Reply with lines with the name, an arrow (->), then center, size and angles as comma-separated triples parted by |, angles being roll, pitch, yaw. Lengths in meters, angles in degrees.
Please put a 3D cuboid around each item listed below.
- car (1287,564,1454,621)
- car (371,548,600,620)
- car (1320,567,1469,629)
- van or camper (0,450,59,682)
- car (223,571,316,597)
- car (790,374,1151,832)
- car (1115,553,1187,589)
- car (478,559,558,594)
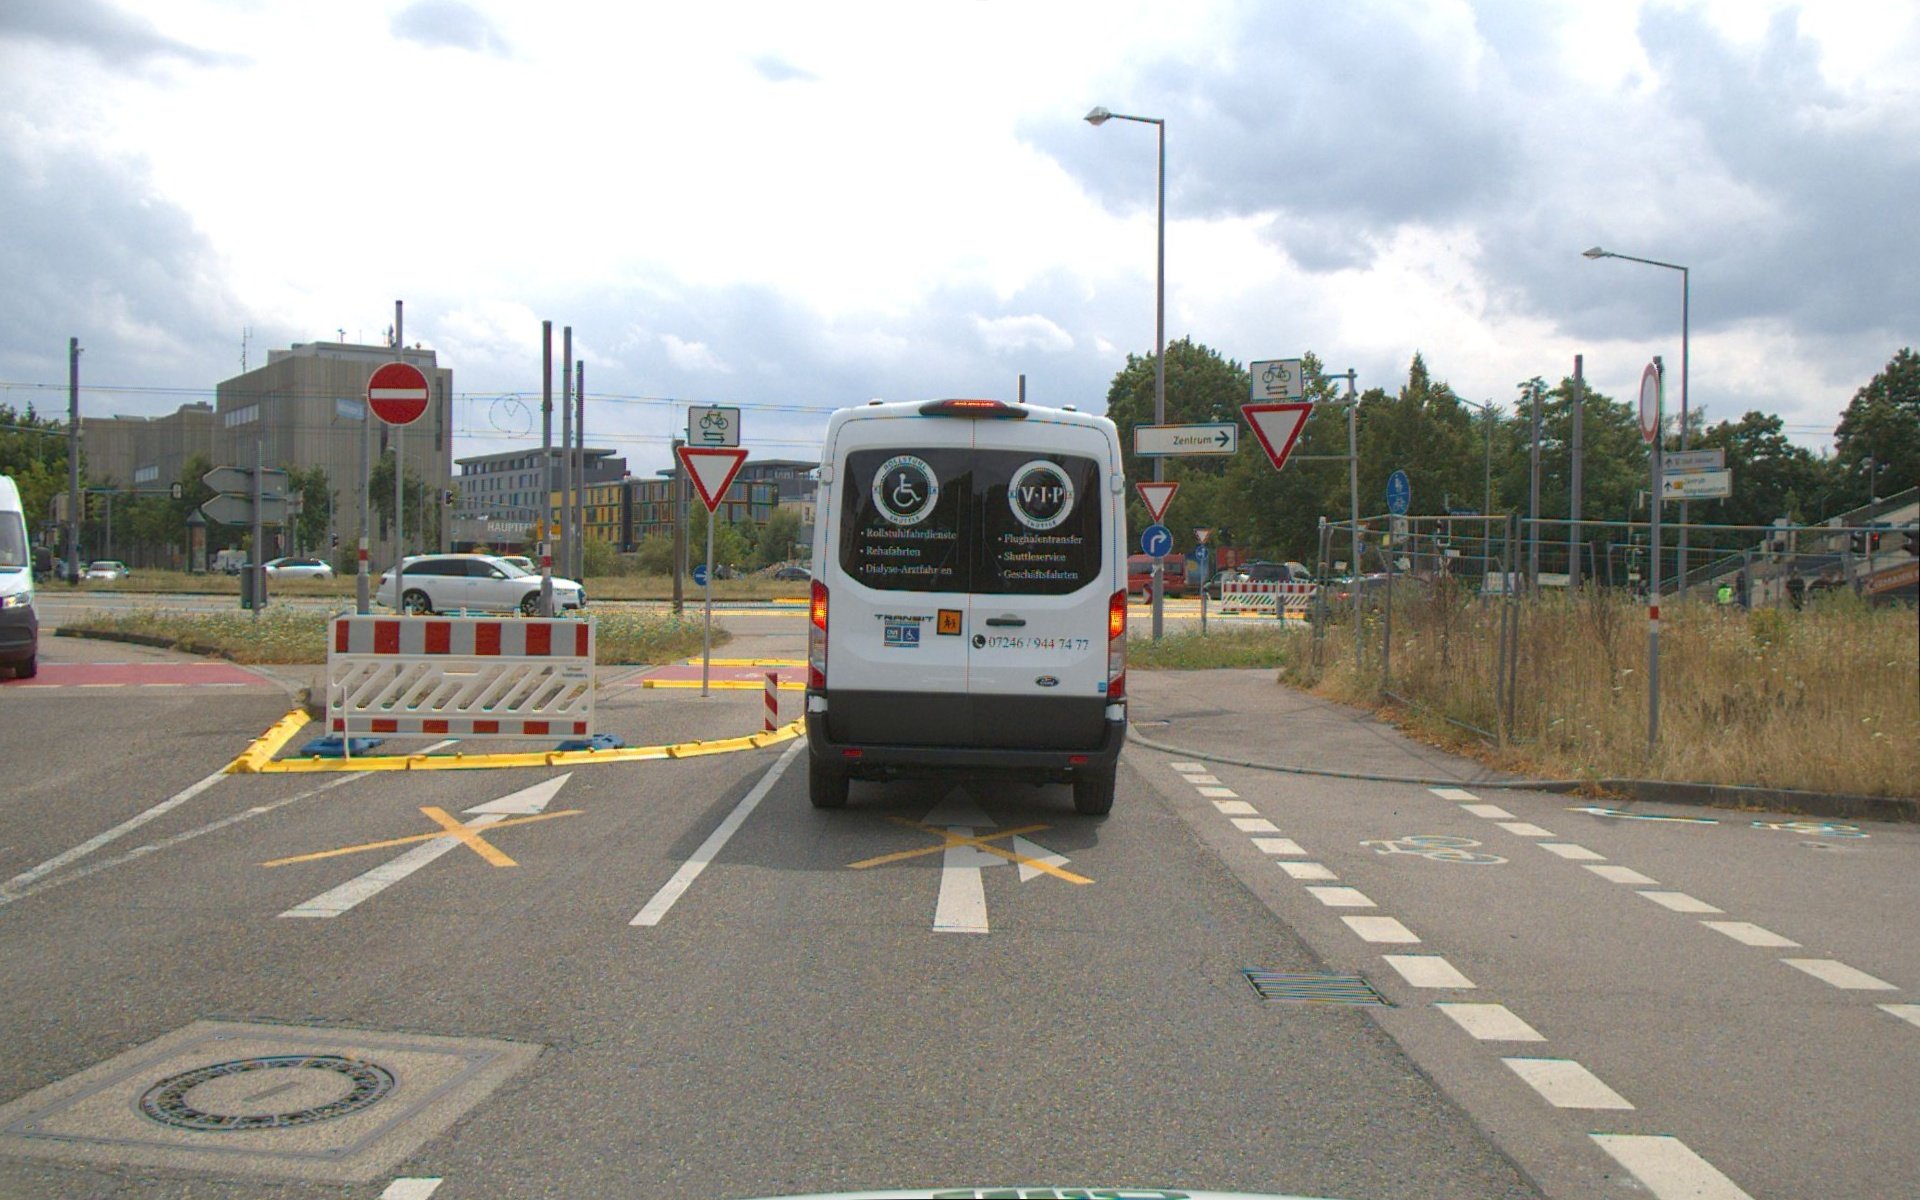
car -> 10.852, -0.230, 43.676 | 4.288, 1.377, 1.609 | -2, 2, -26
car -> -11.257, -0.394, 39.481 | 4.925, 1.606, 1.865 | 1, 1, -2
car -> 12.877, -0.099, 49.040 | 3.932, 1.690, 1.878 | -2, 2, -22
van or camper -> -13.427, -0.460, 22.234 | 2.127, 2.772, 6.215 | -2, 2, -30
car -> -34.460, -0.818, 82.574 | 3.965, 1.213, 1.661 | -2, 2, -41
car -> 0.064, -0.008, 11.534 | 2.020, 2.584, 4.000 | 1, 1, 0
car -> 10.203, -1.574, 88.724 | 1.979, 1.848, 4.383 | -2, 2, -22
car -> -24.518, -1.315, 91.821 | 3.956, 1.802, 1.746 | -2, 2, -36
